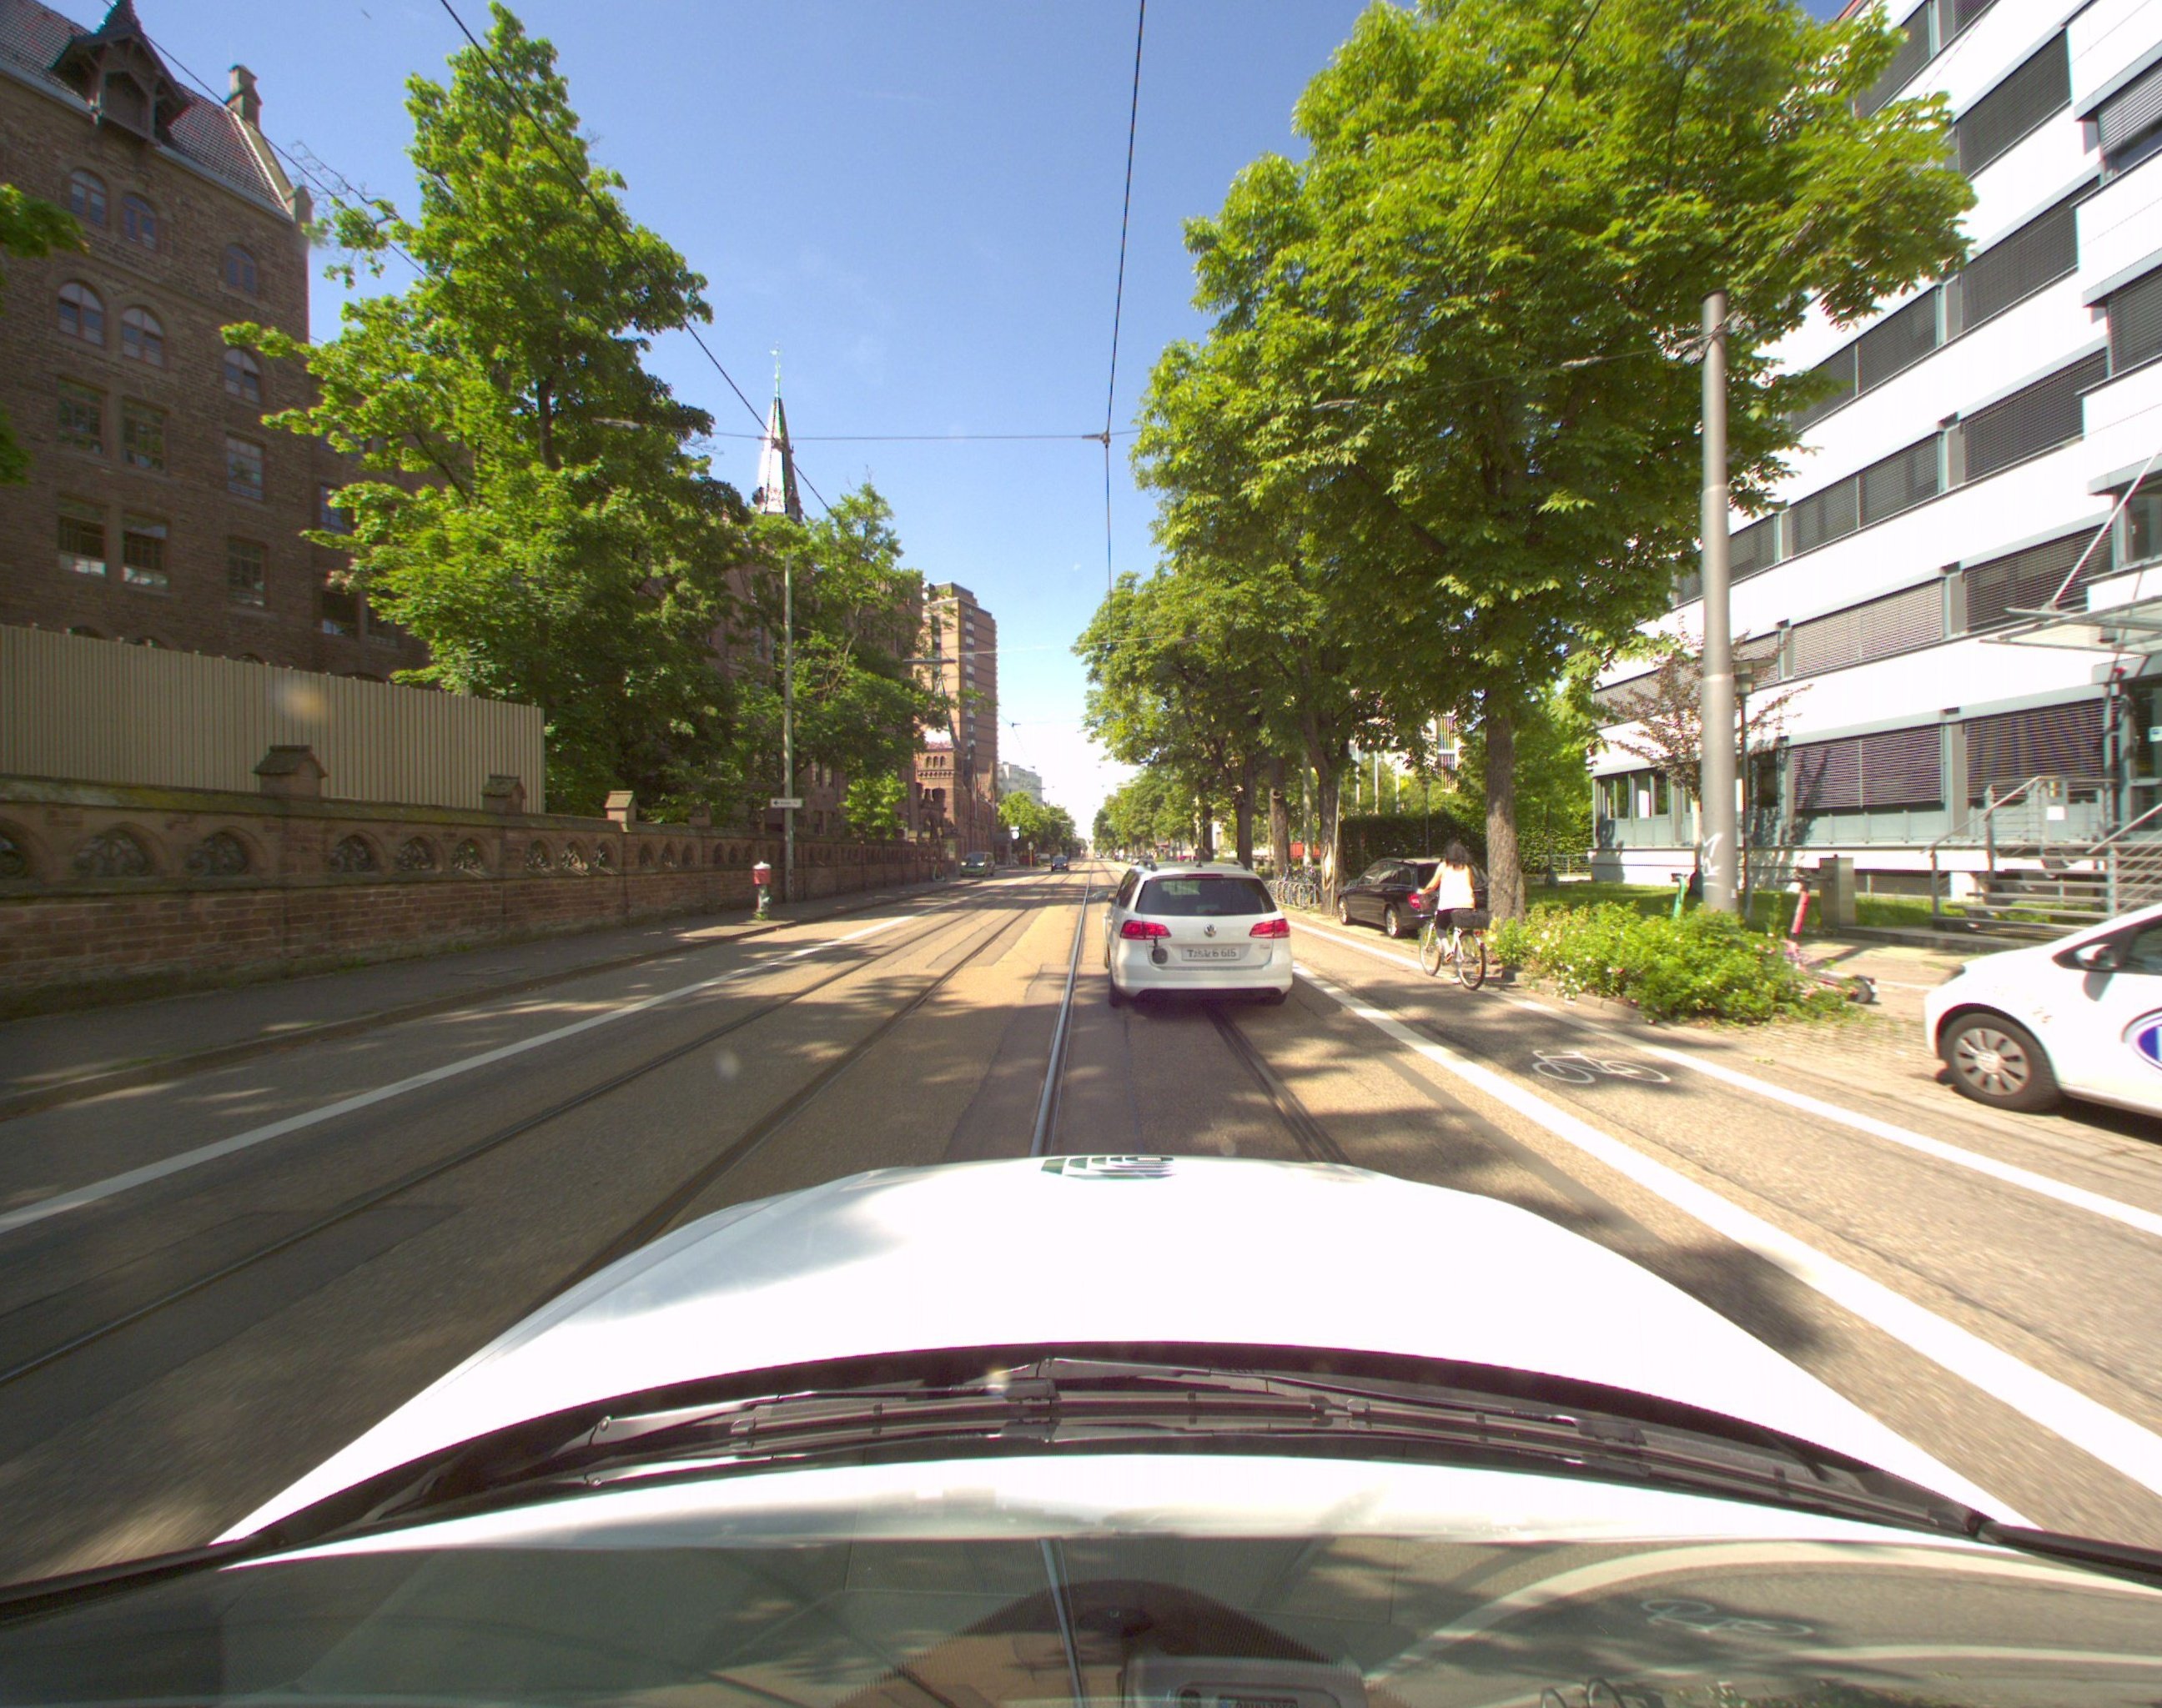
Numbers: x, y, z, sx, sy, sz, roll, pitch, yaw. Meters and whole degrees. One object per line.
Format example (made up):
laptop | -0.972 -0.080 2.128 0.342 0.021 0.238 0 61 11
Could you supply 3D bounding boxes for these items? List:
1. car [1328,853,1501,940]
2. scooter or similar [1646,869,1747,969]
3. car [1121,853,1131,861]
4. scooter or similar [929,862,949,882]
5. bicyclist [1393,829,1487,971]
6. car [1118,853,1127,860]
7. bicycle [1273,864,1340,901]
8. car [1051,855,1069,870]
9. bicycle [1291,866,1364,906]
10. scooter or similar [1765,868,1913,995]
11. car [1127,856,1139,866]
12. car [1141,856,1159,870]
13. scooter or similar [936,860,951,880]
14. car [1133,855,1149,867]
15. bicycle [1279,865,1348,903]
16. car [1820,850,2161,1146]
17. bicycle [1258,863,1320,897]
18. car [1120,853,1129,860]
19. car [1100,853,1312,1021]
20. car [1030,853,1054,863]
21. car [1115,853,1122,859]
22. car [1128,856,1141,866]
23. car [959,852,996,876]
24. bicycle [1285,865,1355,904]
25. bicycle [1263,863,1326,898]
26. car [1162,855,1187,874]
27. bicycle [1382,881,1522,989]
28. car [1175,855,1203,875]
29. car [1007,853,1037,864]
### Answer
car | 6.440 0.728 16.310 1.658 1.444 4.635 -1 0 1
scooter or similar | 7.482 0.759 9.949 0.378 1.128 1.090 -1 0 -1
car | 8.337 0.554 149.819 1.707 1.401 3.844 -1 0 2
scooter or similar | -8.251 1.028 47.298 0.400 1.155 1.150 -1 0 35
bicyclist | 4.311 0.537 9.823 0.783 1.629 0.738 -1 0 1
car | 8.654 0.517 170.300 1.707 1.401 3.844 -1 0 2
bicycle | 6.501 0.824 23.523 1.784 1.010 0.487 -1 0 -4
car | -2.007 0.777 78.844 1.487 1.384 3.644 -1 0 2
bicycle | 6.582 0.837 21.780 1.784 1.010 0.487 -1 0 -4
scooter or similar | 7.539 0.730 8.155 0.386 1.155 1.143 -1 0 -1
car | 8.248 1.106 130.057 1.707 1.401 3.844 -1 0 2
car | 7.344 0.919 86.700 1.707 1.401 3.844 -1 0 2
scooter or similar | -8.587 0.979 50.808 0.419 1.200 1.148 -1 0 16
car | 7.679 0.893 104.591 1.707 1.401 3.843 -1 0 1
bicycle | 6.545 0.828 22.940 1.784 1.010 0.487 -1 0 -4
car | 6.175 0.716 3.993 1.584 1.451 3.947 -1 0 1
bicycle | 6.463 0.809 25.317 1.784 1.010 0.487 -1 0 -4
car | 8.599 0.515 161.053 1.707 1.401 3.844 -1 0 2
car | 1.145 0.753 9.338 1.748 1.442 4.411 -1 -1 0
car | -7.477 0.702 155.967 4.017 1.816 1.978 -1 0 -35
car | 8.841 0.374 191.428 1.707 1.401 3.844 -1 0 2
car | 7.723 0.963 117.091 1.707 1.401 3.844 -1 0 2
car | -8.053 0.757 63.844 1.985 1.757 4.716 -1 0 3
bicycle | 6.561 0.833 22.363 1.784 1.010 0.487 -1 0 -4
bicycle | 6.492 0.813 24.797 1.784 1.010 0.487 -1 0 -4
car | 7.338 0.794 64.383 1.706 1.401 3.846 -1 0 3
bicycle | 4.355 0.902 9.753 0.808 1.078 2.013 0 0 1
car | 7.241 0.698 54.888 1.705 1.280 3.848 -1 0 5
car | -8.921 0.701 122.816 4.132 1.530 1.919 1 0 -21
